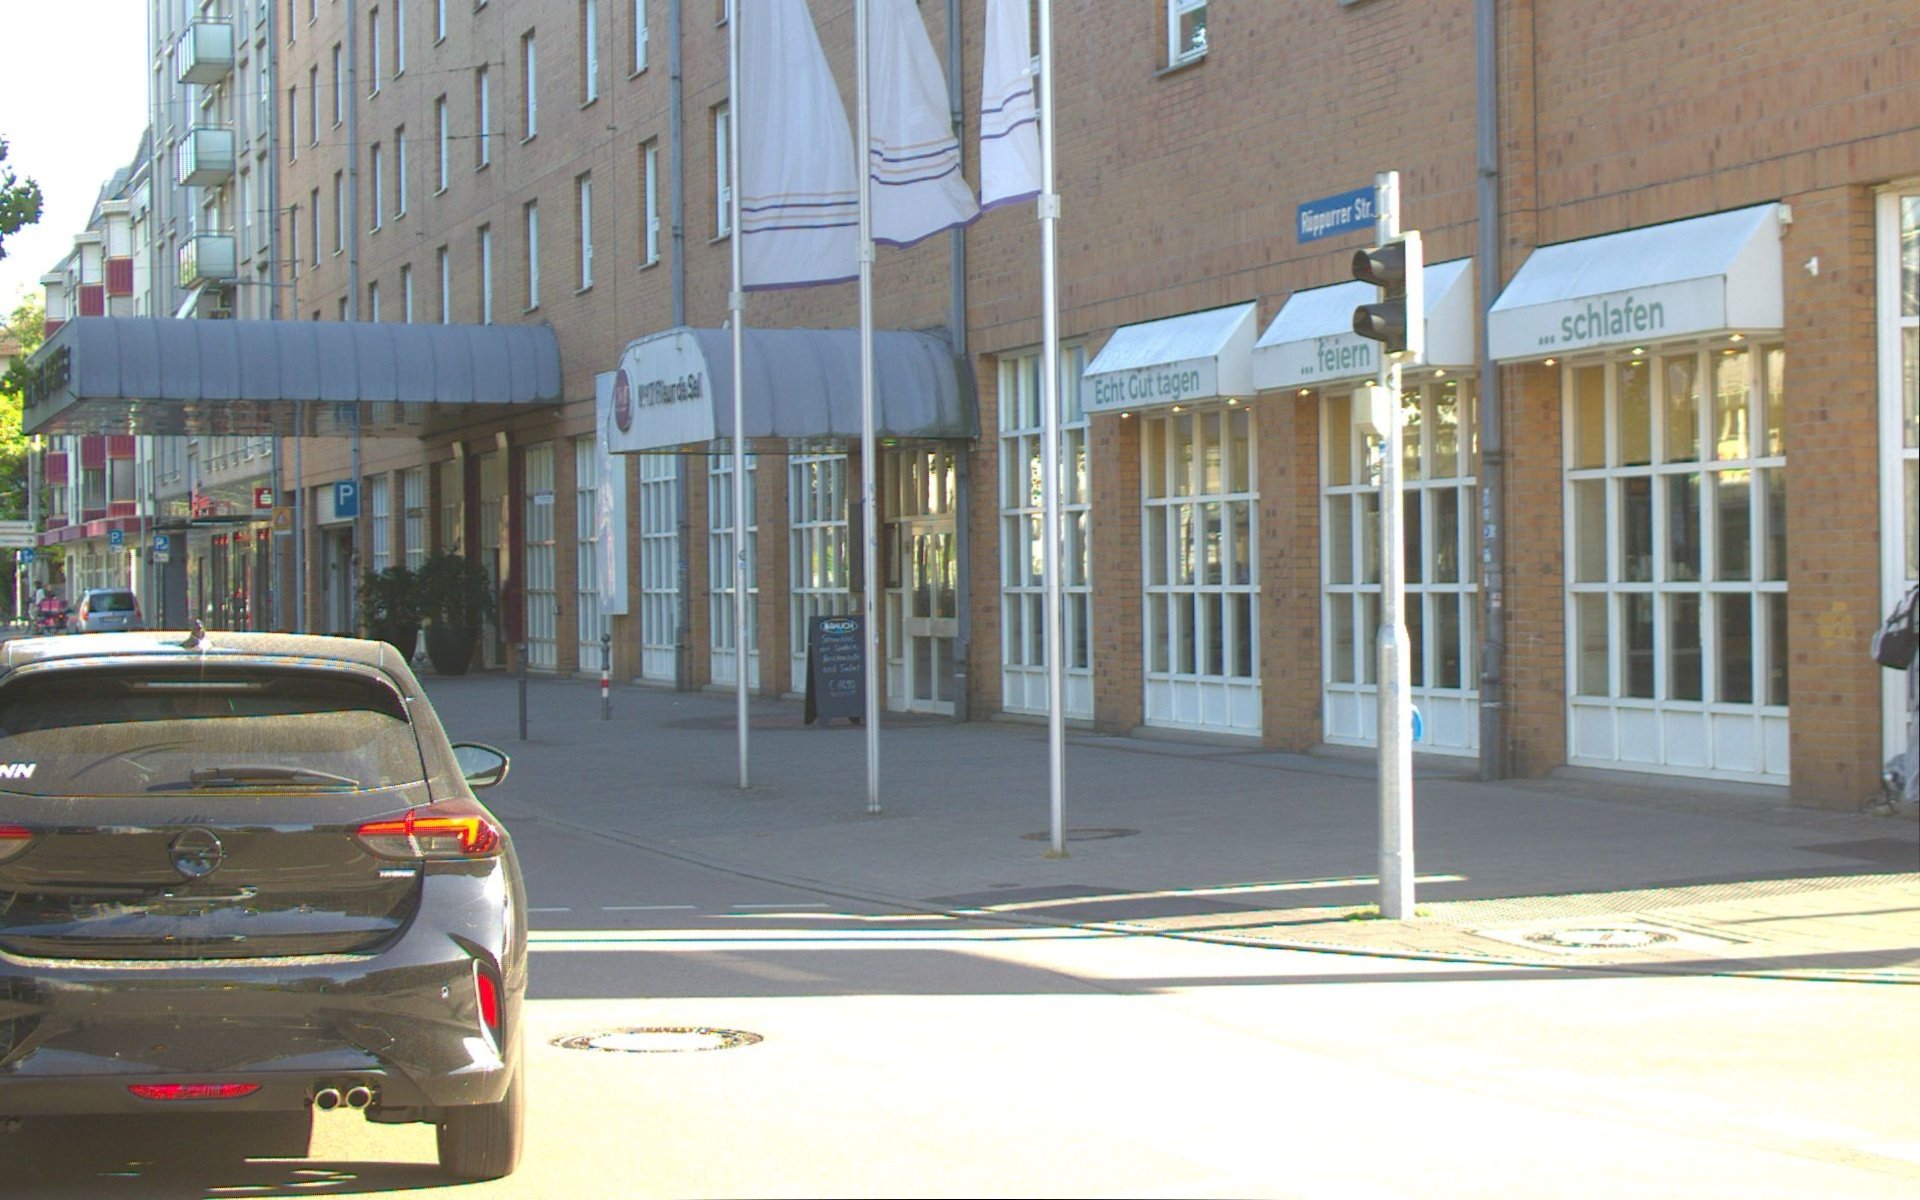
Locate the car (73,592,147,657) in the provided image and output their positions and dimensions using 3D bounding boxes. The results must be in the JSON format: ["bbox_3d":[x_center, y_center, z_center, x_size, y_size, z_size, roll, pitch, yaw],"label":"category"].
[{"bbox_3d":[-22.176,0.633,89.632,1.671,1.647,3.691,0,0,-17],"label":"car"}]

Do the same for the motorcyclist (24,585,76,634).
[{"bbox_3d":[-32.187,0.336,121.609,1.236,1.692,1.305,0,0,42],"label":"motorcyclist"}]

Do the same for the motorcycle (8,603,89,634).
[{"bbox_3d":[-32.263,0.641,121.681,3.095,1.055,1.305,1,0,42],"label":"motorcycle"}]

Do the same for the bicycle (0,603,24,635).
[{"bbox_3d":[-37.801,0.728,134.268,2.355,1.229,0.684,0,0,-16],"label":"bicycle"}]

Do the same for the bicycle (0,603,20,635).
[{"bbox_3d":[-37.461,0.712,132.531,2.355,1.229,0.684,0,0,-16],"label":"bicycle"}]

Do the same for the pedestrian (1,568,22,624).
[{"bbox_3d":[-48.927,-0.218,177.346,0.916,2.862,1.151,0,0,-19],"label":"pedestrian"}]

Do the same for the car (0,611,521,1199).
[{"bbox_3d":[-2.212,0.797,9.971,1.671,1.496,3.691,-1,0,-10],"label":"car"}]

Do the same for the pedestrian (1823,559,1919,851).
[{"bbox_3d":[5.572,0.595,20.026,0.738,1.660,0.753,0,0,-23],"label":"pedestrian"}]
